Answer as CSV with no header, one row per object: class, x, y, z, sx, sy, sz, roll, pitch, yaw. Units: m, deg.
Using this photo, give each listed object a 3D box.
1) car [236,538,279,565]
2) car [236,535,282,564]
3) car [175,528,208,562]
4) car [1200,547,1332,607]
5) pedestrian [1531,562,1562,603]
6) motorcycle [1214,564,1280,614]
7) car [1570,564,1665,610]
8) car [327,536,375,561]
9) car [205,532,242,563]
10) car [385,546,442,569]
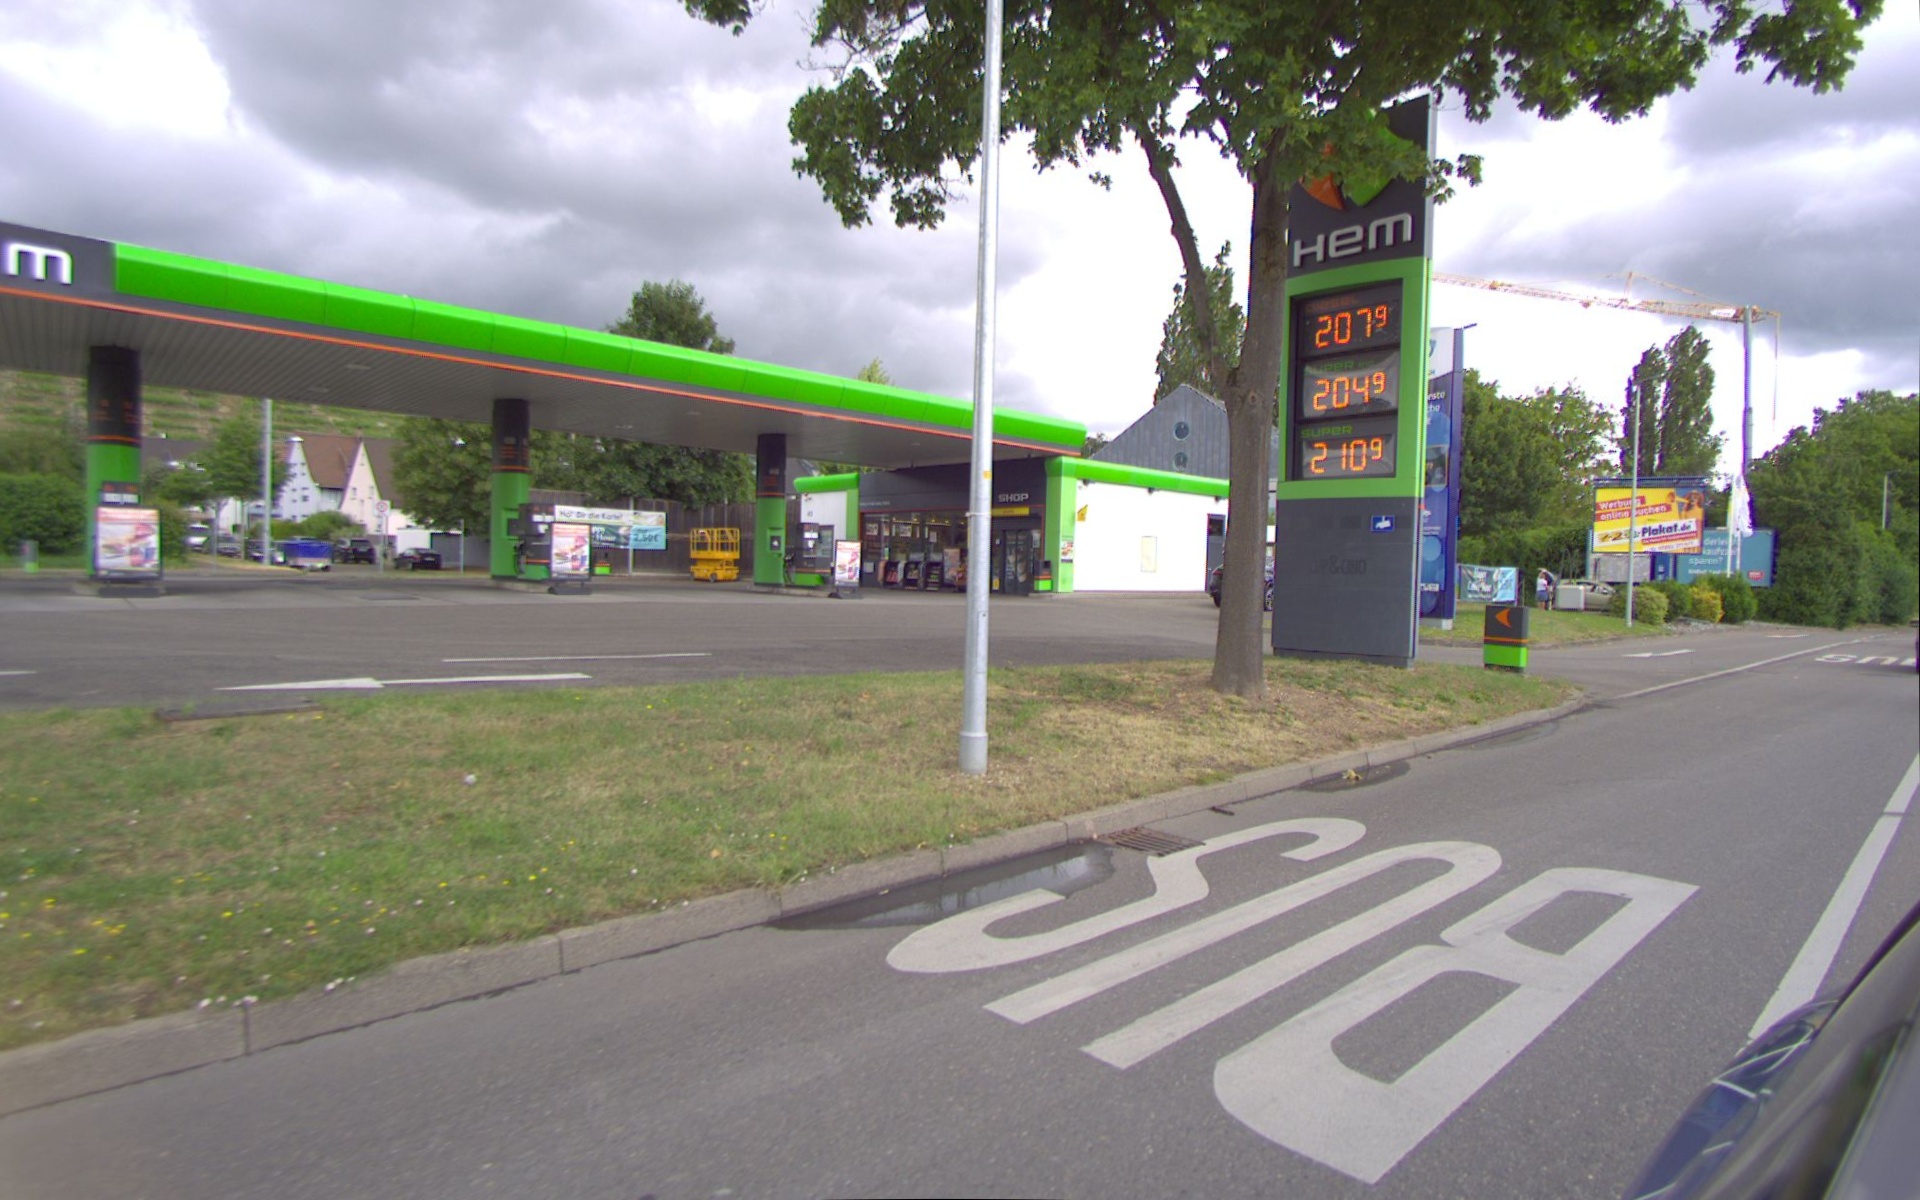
car,-42.343,-2.895,60.992,1.641,1.422,3.870,0,0,-43
car,-39.054,-2.766,56.358,1.641,1.422,3.870,0,0,-43
car,-58.293,-4.113,76.735,1.641,2.372,3.870,0,0,-43
car,9.632,-0.710,31.717,4.253,1.658,1.997,0,5,-43
pedestrian,24.807,-0.738,42.824,1.032,1.719,1.066,0,0,27
motorcycle,7.378,-0.283,25.930,0.702,1.201,2.354,3,2,40
car,27.170,-0.526,41.847,3.226,1.815,1.525,0,0,37
car,-41.381,-3.506,68.735,1.967,1.556,3.991,0,3,-44
car,-50.031,-3.524,68.727,1.641,1.898,3.870,0,0,-43
car,-32.865,-2.550,60.839,3.987,1.234,1.815,4,3,43
